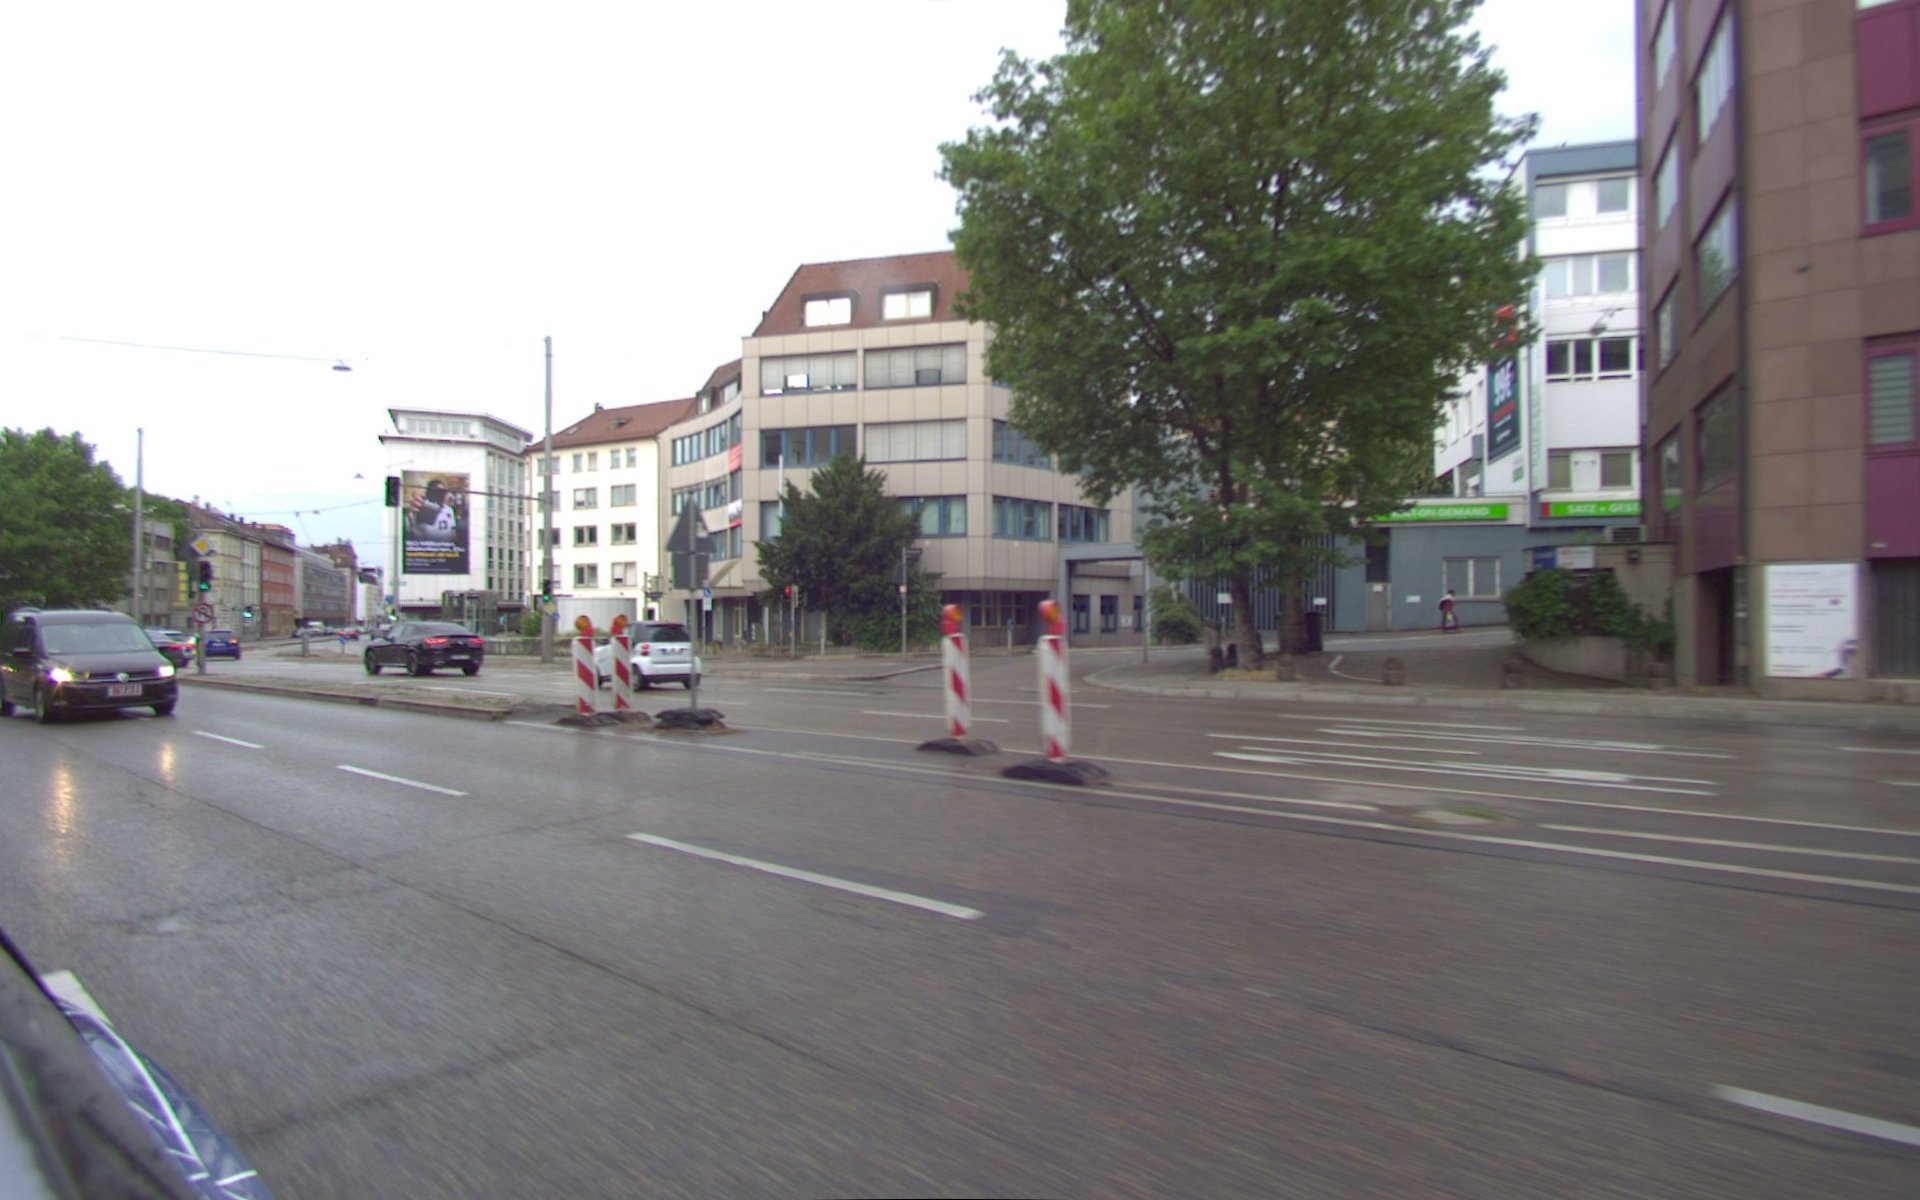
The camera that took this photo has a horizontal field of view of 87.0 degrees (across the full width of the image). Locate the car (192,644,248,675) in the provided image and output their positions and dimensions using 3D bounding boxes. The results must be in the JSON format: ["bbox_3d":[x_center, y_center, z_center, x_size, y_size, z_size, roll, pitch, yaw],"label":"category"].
[{"bbox_3d":[-38.199,3.032,52.227,1.741,1.524,4.124,2,-3,-44],"label":"car"}]

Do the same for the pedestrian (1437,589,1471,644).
[{"bbox_3d":[18.536,0.633,37.995,0.972,2.029,0.837,-1,-2,14],"label":"pedestrian"}]

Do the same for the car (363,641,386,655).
[{"bbox_3d":[-70.982,5.821,122.713,1.843,1.590,4.013,1,-2,-23],"label":"car"}]

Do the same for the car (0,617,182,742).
[{"bbox_3d":[-14.833,1.248,16.978,4.118,1.813,1.774,-2,-1,37],"label":"car"}]

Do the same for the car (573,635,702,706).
[{"bbox_3d":[-7.362,1.574,23.022,2.948,1.496,1.539,-3,-4,42],"label":"car"}]

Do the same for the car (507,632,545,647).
[{"bbox_3d":[-45.657,4.141,106.514,1.895,1.603,3.992,0,-2,6],"label":"car"}]

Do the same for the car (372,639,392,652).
[{"bbox_3d":[-75.359,5.943,132.027,1.843,1.590,4.013,1,-2,-23],"label":"car"}]

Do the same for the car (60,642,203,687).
[{"bbox_3d":[-28.644,2.193,34.966,4.912,1.449,1.982,-2,-3,27],"label":"car"}]

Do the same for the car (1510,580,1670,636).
[{"bbox_3d":[21.441,0.313,34.645,4.139,1.474,1.829,-6,-4,15],"label":"car"}]

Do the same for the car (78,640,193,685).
[{"bbox_3d":[-32.824,2.442,40.281,4.564,1.695,1.757,-1,-2,25],"label":"car"}]

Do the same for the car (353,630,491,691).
[{"bbox_3d":[-16.382,1.813,30.699,4.933,1.690,1.973,-2,-3,40],"label":"car"}]

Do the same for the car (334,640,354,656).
[{"bbox_3d":[-76.323,5.935,125.451,1.965,1.857,4.454,1,-2,-29],"label":"car"}]

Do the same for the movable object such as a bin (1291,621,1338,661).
[{"bbox_3d":[9.145,1.062,26.119,0.861,1.003,0.790,0,-2,-5],"label":"movable object such as a bin"}]
